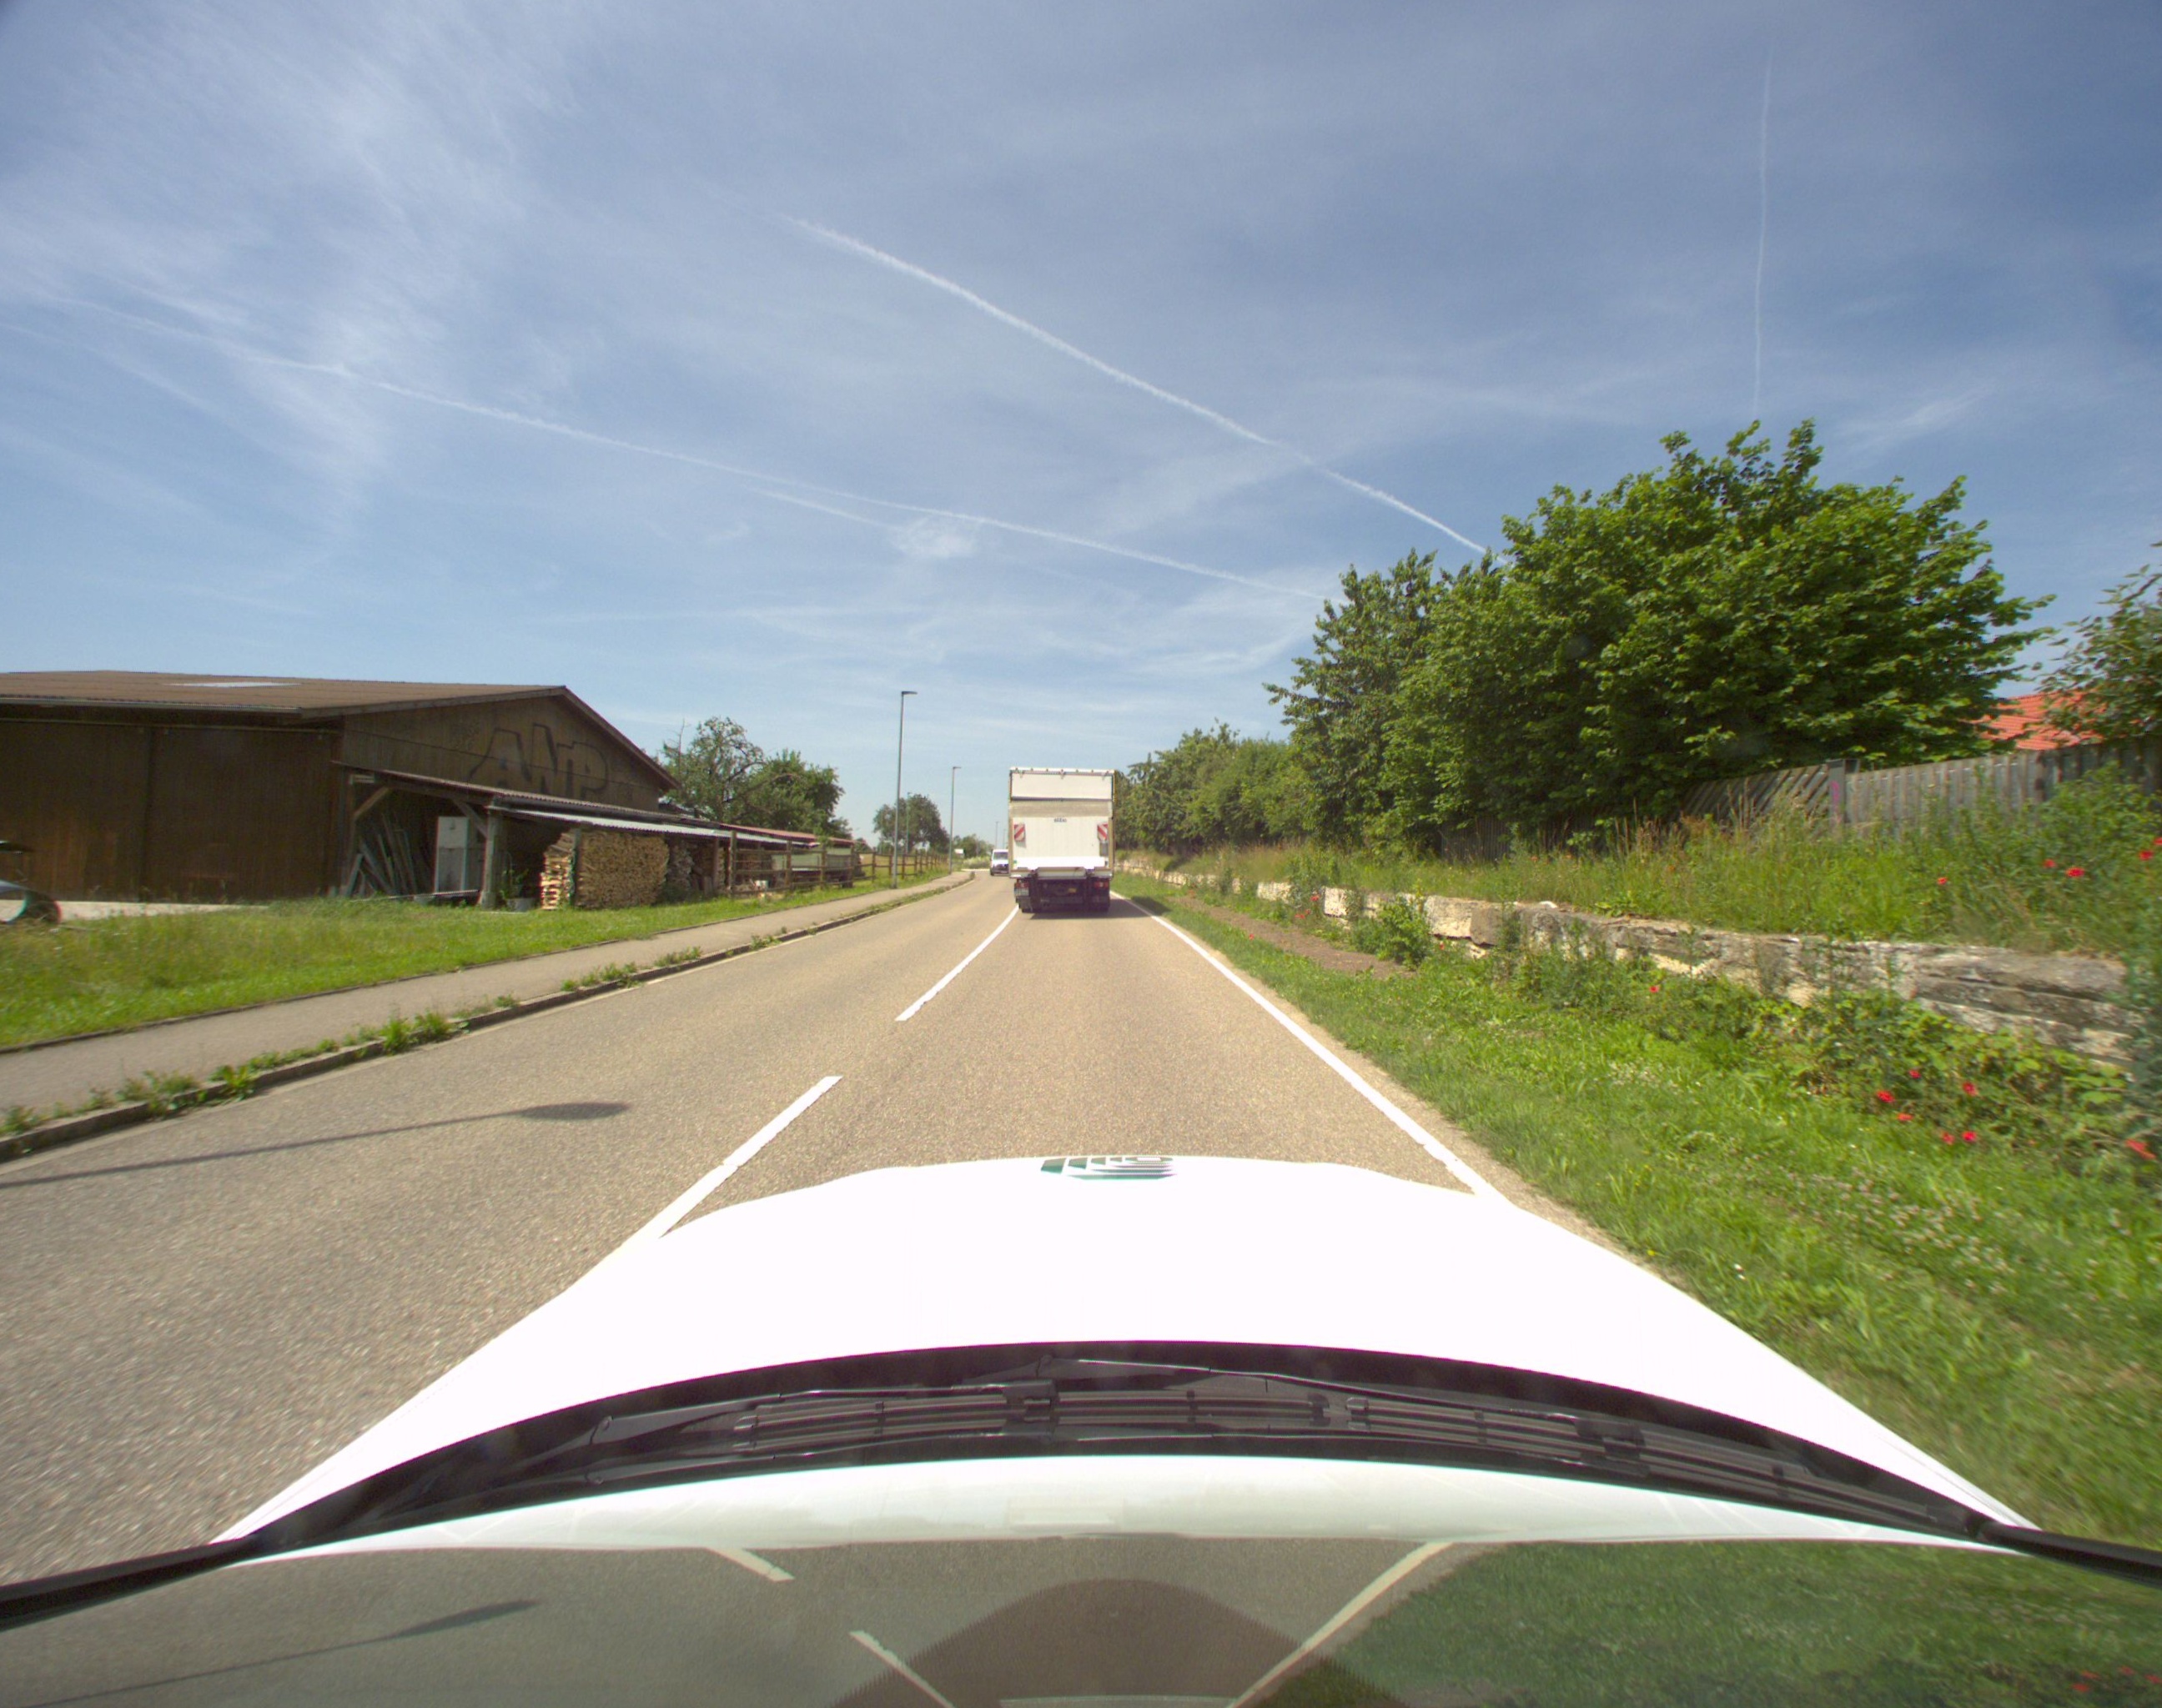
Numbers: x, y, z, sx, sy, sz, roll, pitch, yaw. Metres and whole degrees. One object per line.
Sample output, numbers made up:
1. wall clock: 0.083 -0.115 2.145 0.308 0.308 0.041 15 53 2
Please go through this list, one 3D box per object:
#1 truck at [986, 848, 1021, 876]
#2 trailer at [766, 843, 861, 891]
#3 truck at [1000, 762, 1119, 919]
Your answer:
1. truck: -6.714 0.661 69.656 2.224 2.293 6.464 0 -1 -12
2. trailer: -10.135 0.461 31.302 2.149 1.703 5.024 0 0 -2
3. truck: -0.458 -0.287 24.020 2.757 3.671 9.382 -1 0 1
